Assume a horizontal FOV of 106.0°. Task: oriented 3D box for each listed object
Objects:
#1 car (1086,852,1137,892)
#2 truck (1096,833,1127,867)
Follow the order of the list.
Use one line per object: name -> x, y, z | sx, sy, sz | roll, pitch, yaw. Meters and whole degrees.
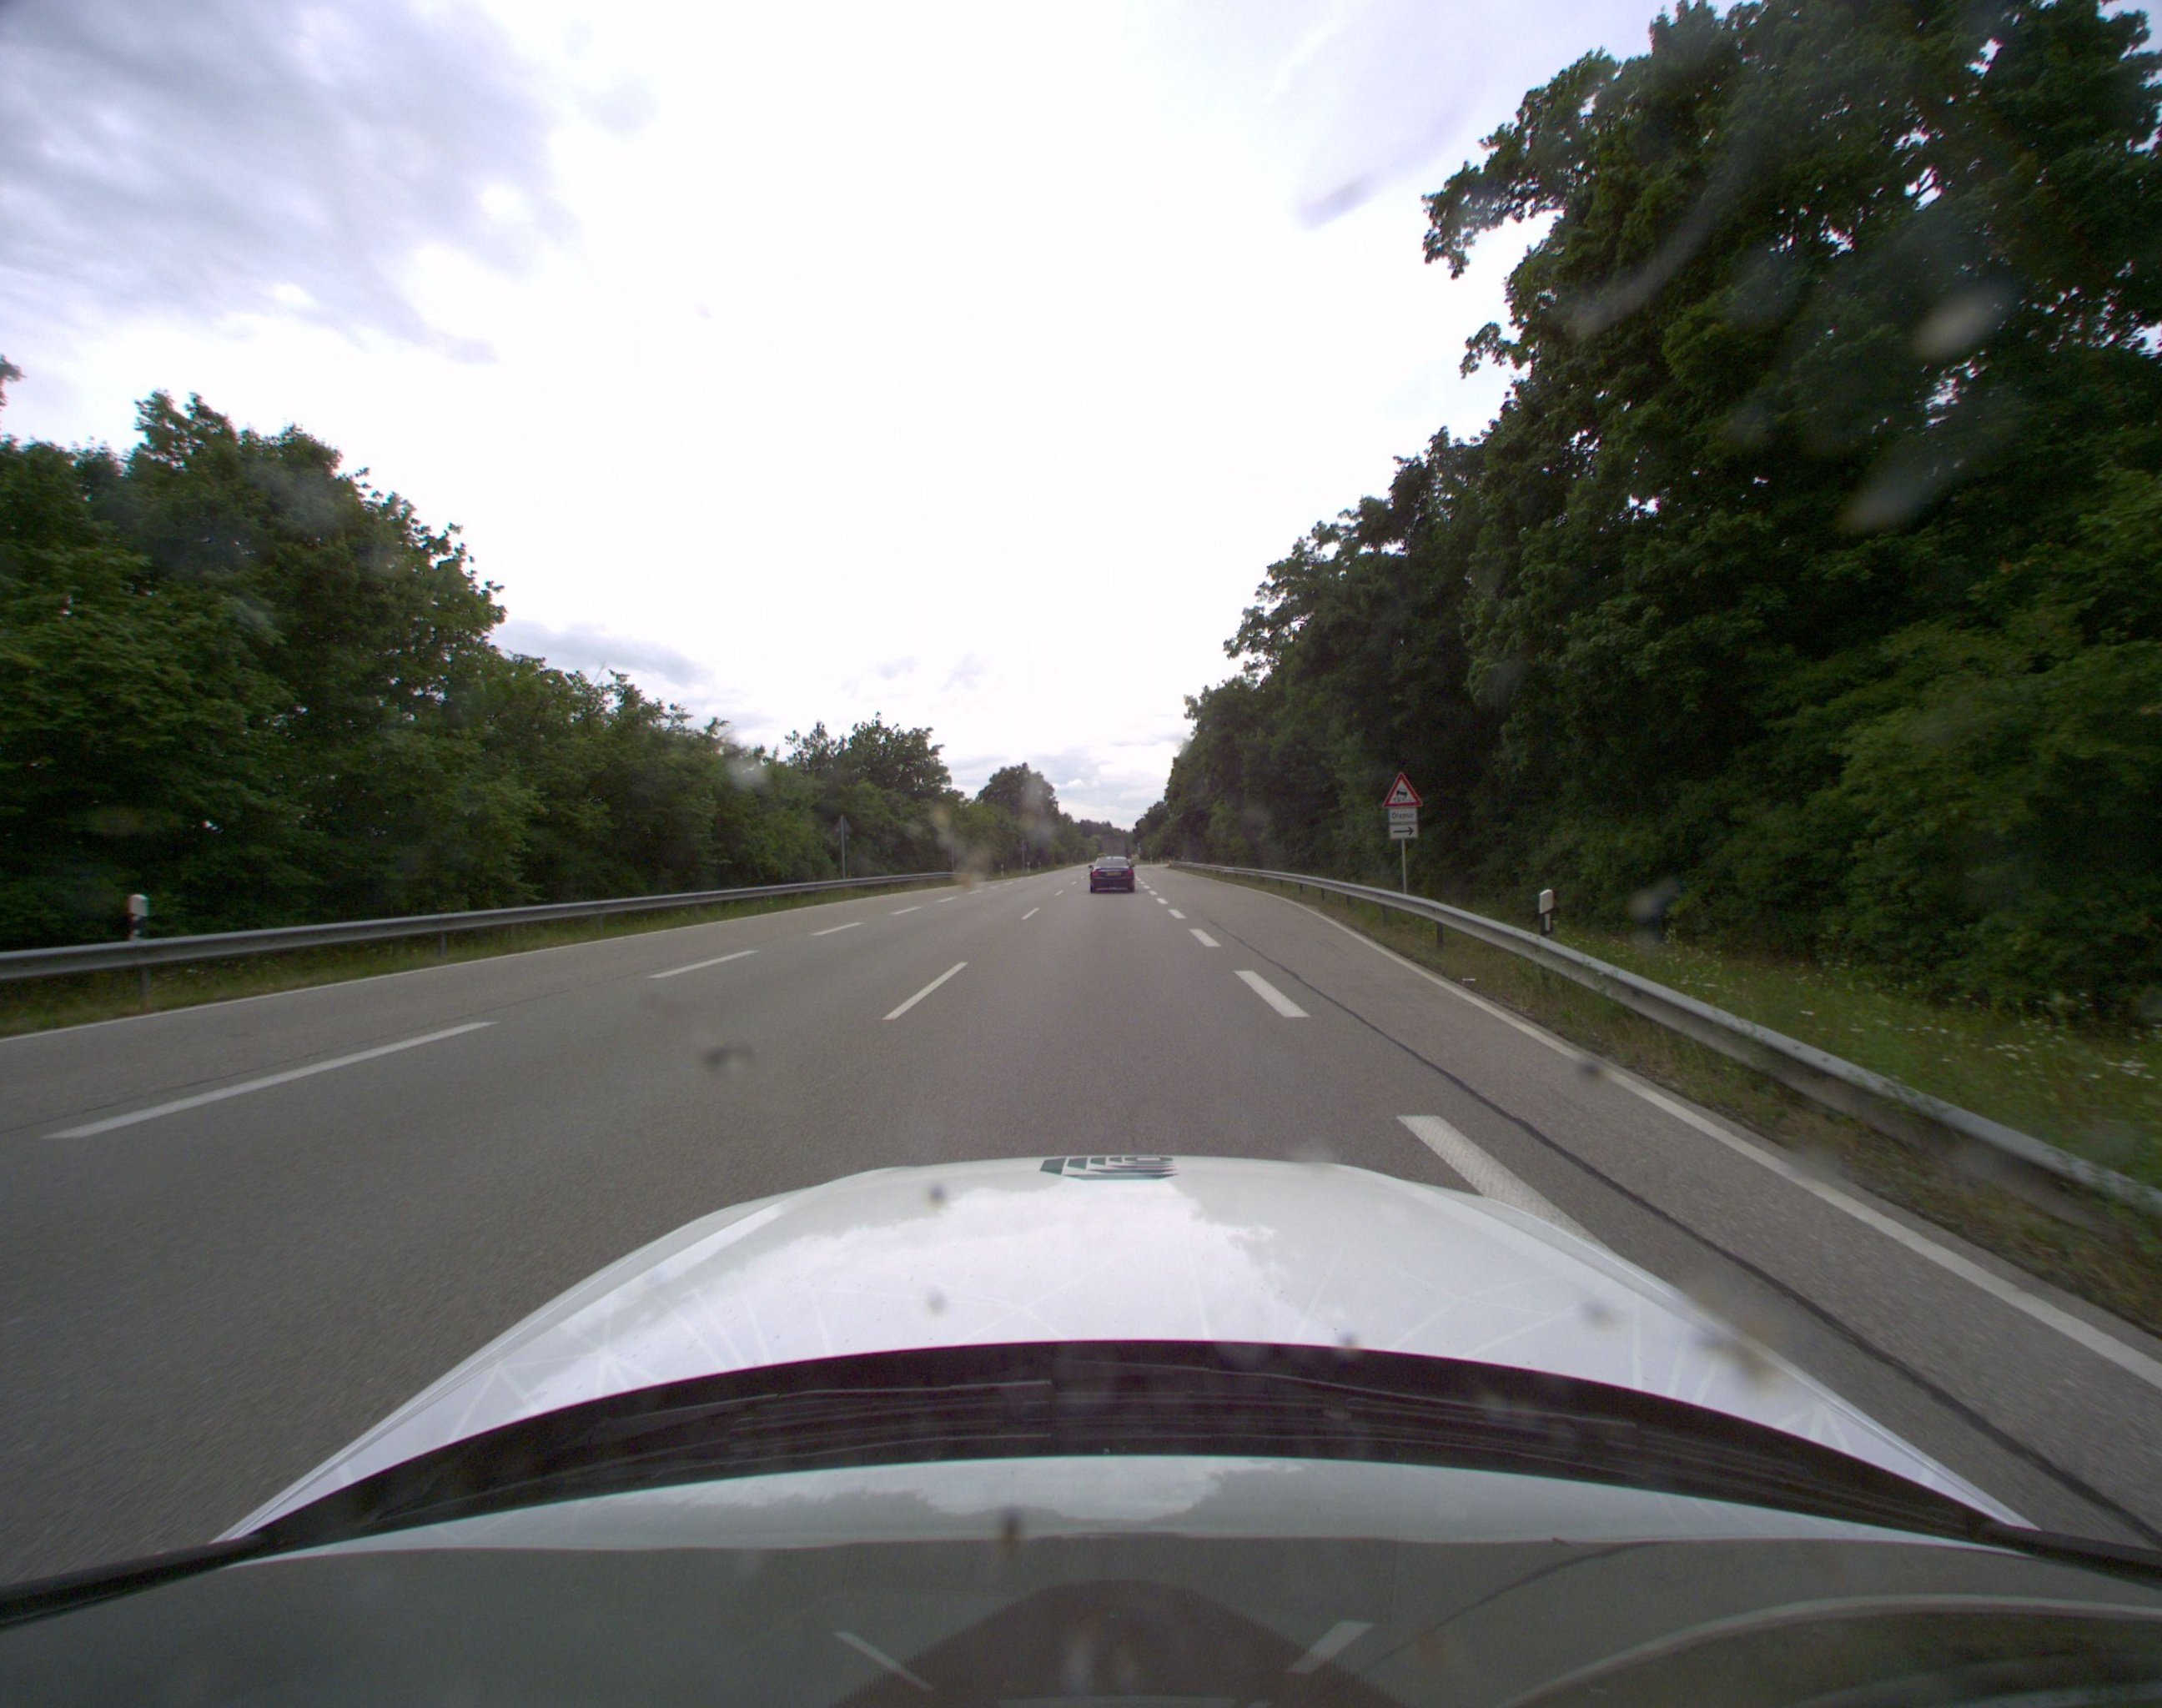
car -> 1.220, 0.720, 34.335 | 1.787, 1.552, 3.996 | -1, 0, -3
truck -> 3.361, -0.391, 92.663 | 3.269, 3.611, 11.402 | -1, 0, 1
